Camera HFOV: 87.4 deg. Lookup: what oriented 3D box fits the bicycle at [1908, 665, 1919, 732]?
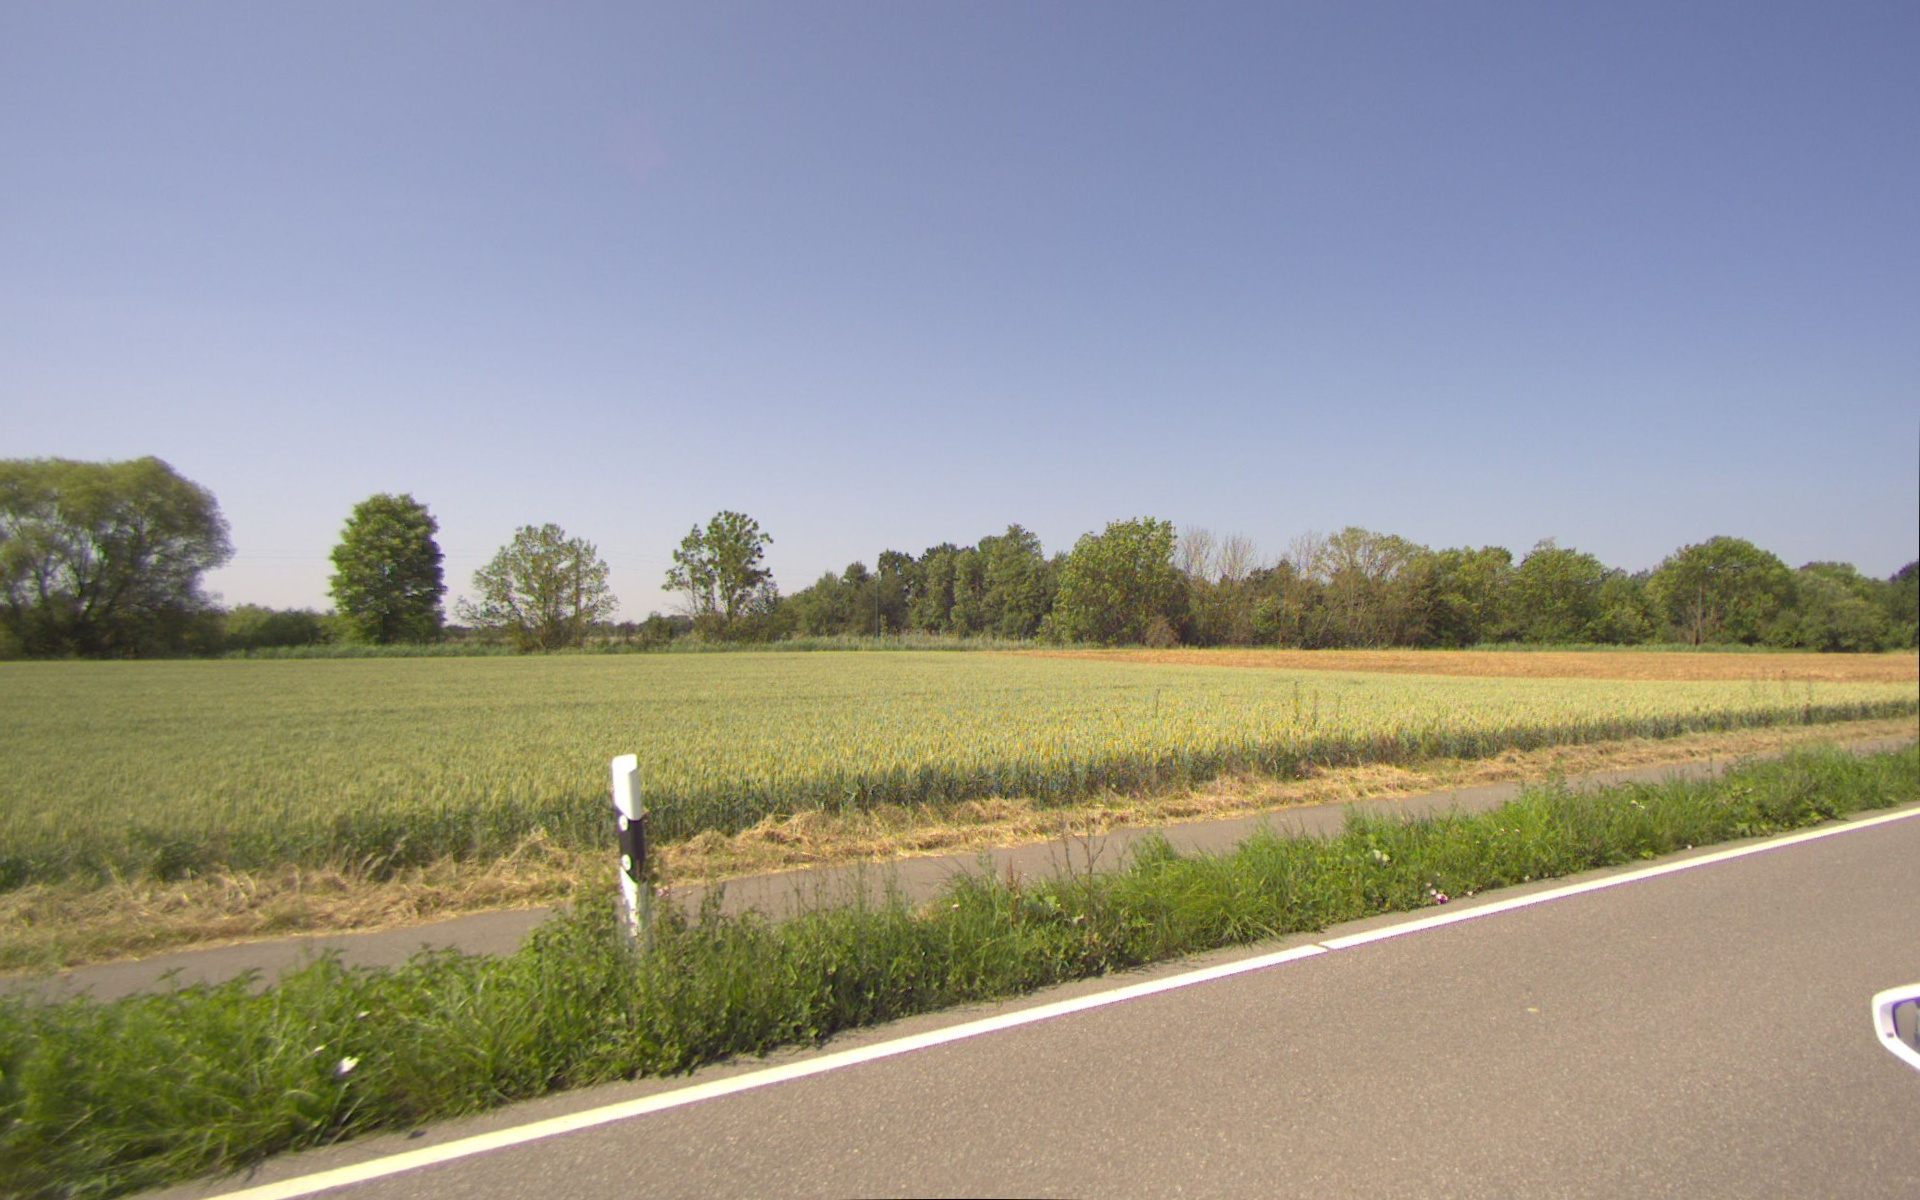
[{"bbox_3d":[19.209,1.871,19.307,2.366,1.252,0.756,2,-4,-31],"label":"bicycle"}]
